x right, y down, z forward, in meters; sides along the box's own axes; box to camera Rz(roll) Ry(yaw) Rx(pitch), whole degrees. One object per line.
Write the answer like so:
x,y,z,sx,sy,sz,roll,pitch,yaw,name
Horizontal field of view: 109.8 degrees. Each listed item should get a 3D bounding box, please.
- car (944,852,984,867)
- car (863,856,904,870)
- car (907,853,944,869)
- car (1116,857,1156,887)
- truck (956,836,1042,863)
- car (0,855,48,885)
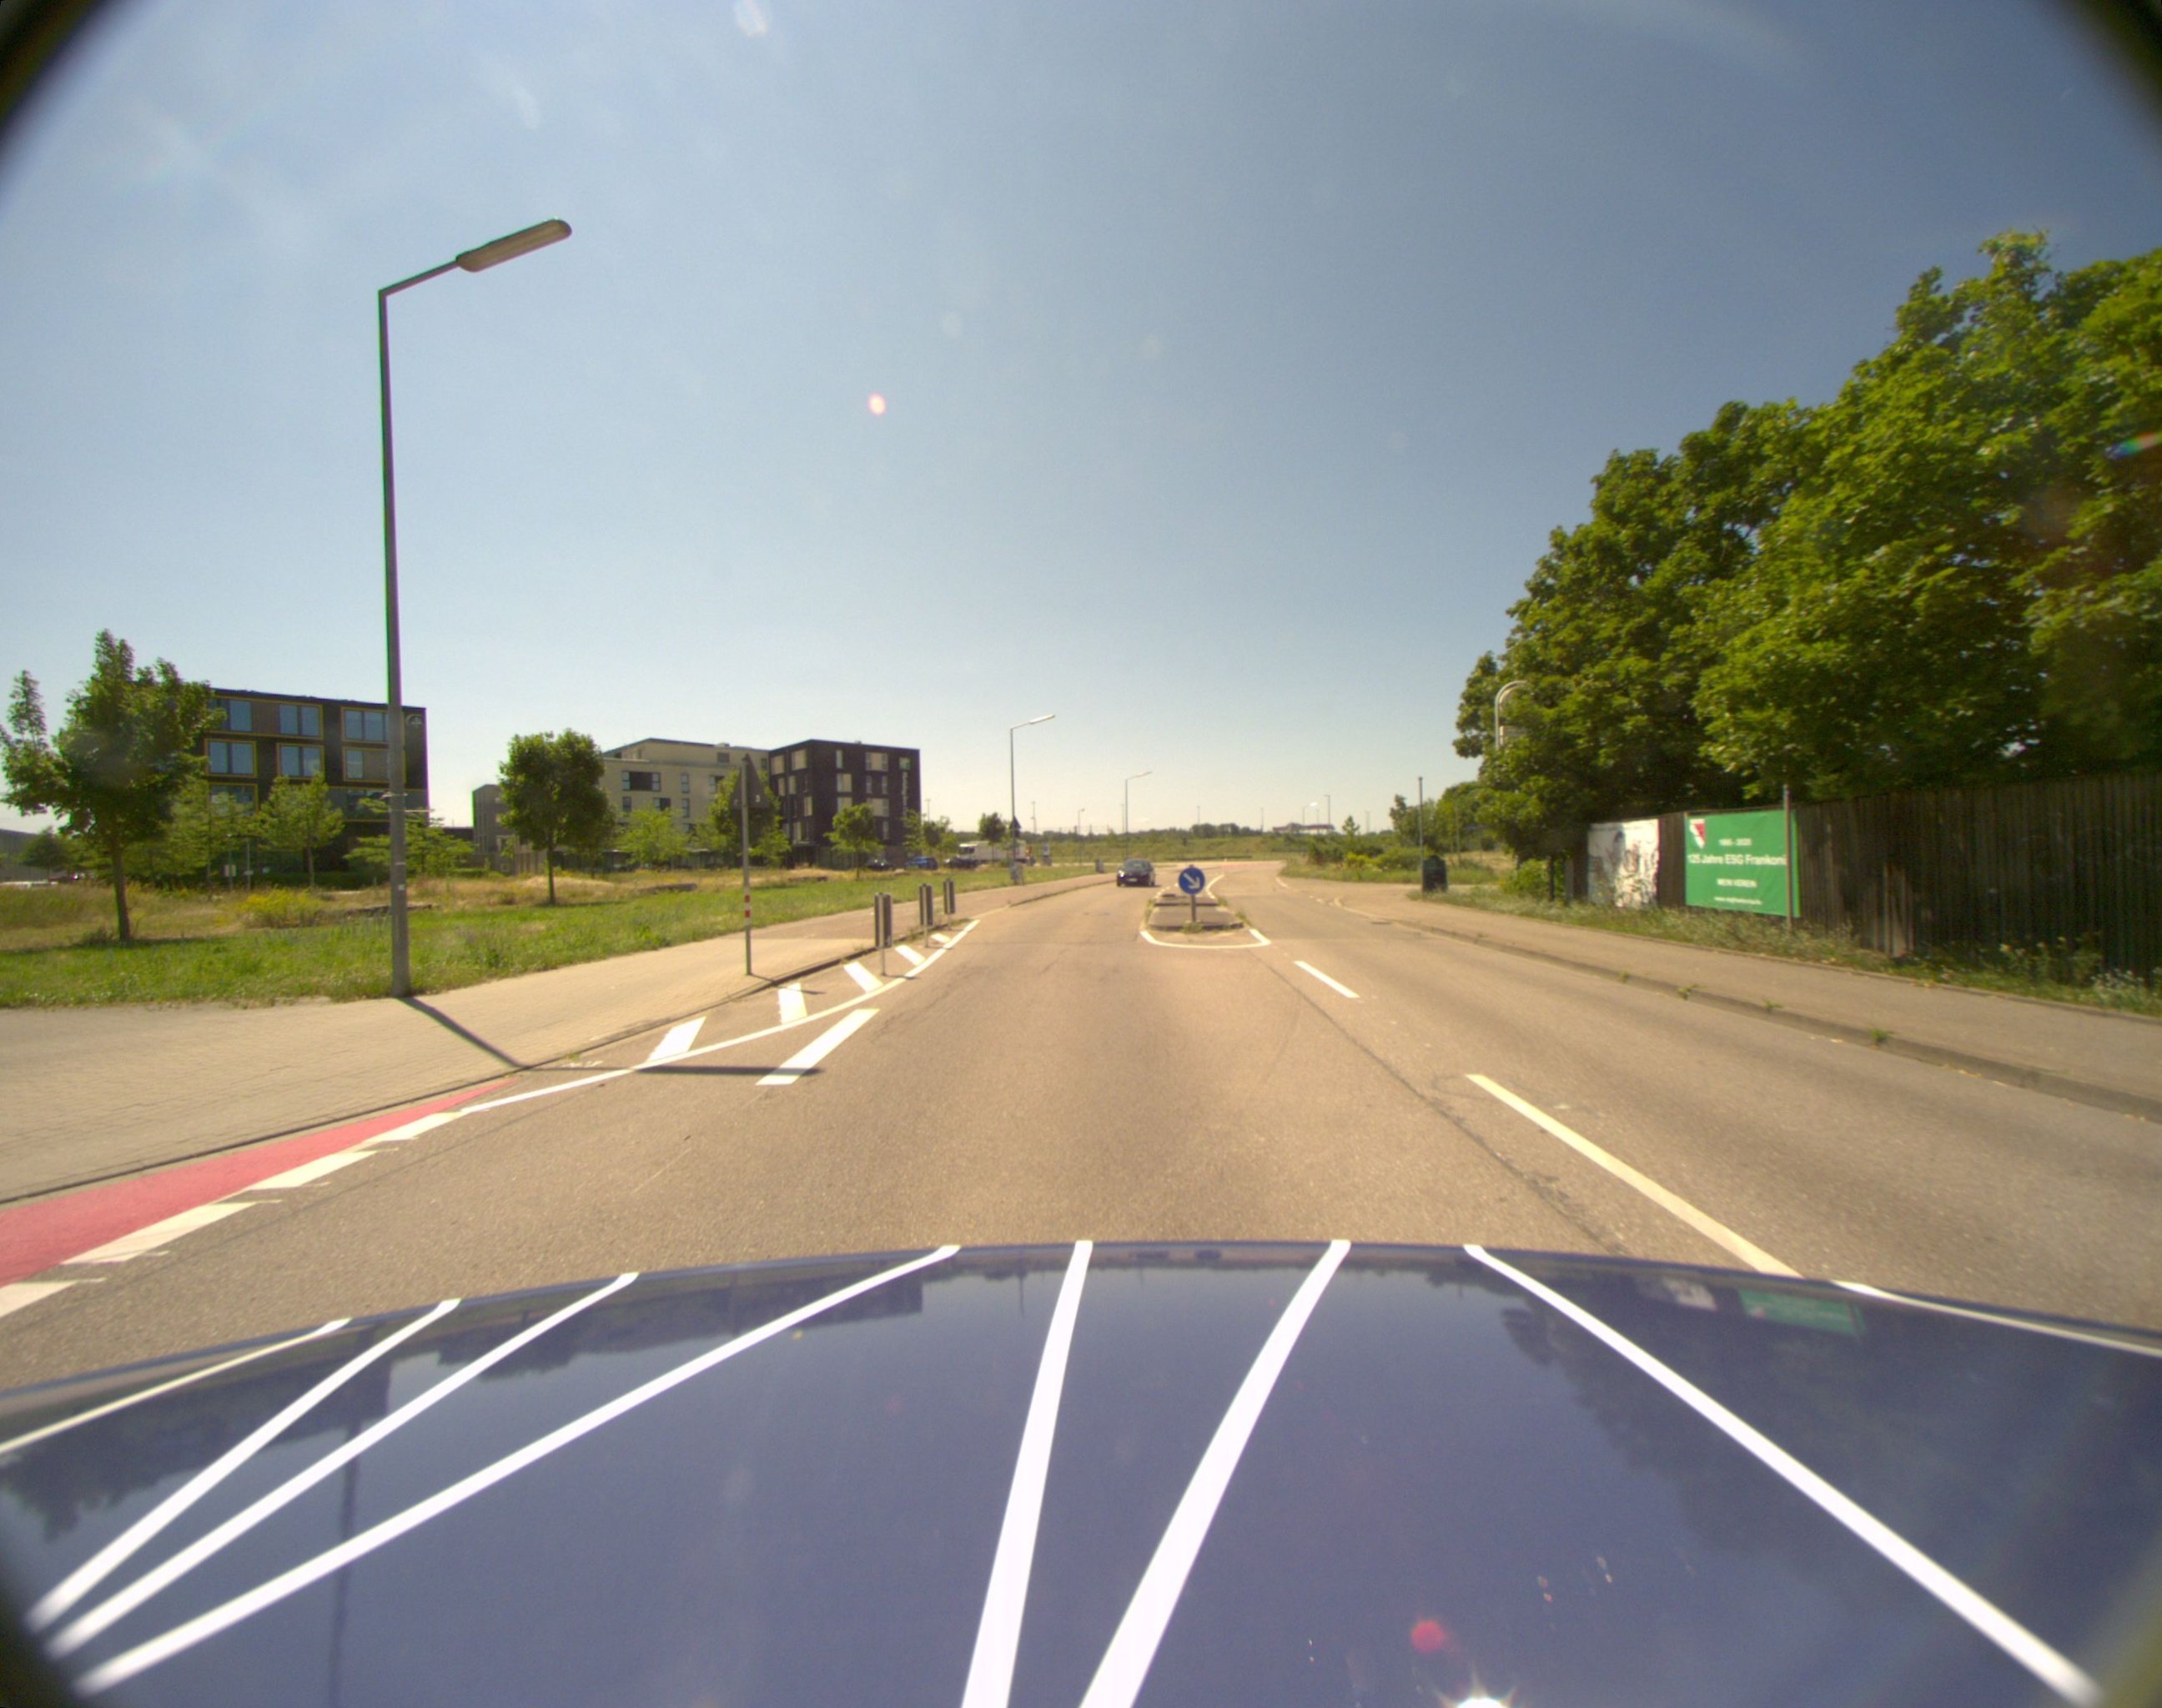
-12.944,0.635,83.967,4.495,1.553,2.036,-1,1,44,car
-20.152,0.905,77.523,4.114,1.436,1.966,-1,1,39,car
-16.607,0.737,81.043,4.059,1.642,1.958,-1,1,44,car
2.978,0.932,40.271,1.652,1.458,4.162,-1,0,10,car
-10.816,-0.714,101.952,12.163,3.442,3.009,-1,3,-44,truck
-75.197,1.154,53.650,1.963,1.917,3.483,-3,0,-43,car
